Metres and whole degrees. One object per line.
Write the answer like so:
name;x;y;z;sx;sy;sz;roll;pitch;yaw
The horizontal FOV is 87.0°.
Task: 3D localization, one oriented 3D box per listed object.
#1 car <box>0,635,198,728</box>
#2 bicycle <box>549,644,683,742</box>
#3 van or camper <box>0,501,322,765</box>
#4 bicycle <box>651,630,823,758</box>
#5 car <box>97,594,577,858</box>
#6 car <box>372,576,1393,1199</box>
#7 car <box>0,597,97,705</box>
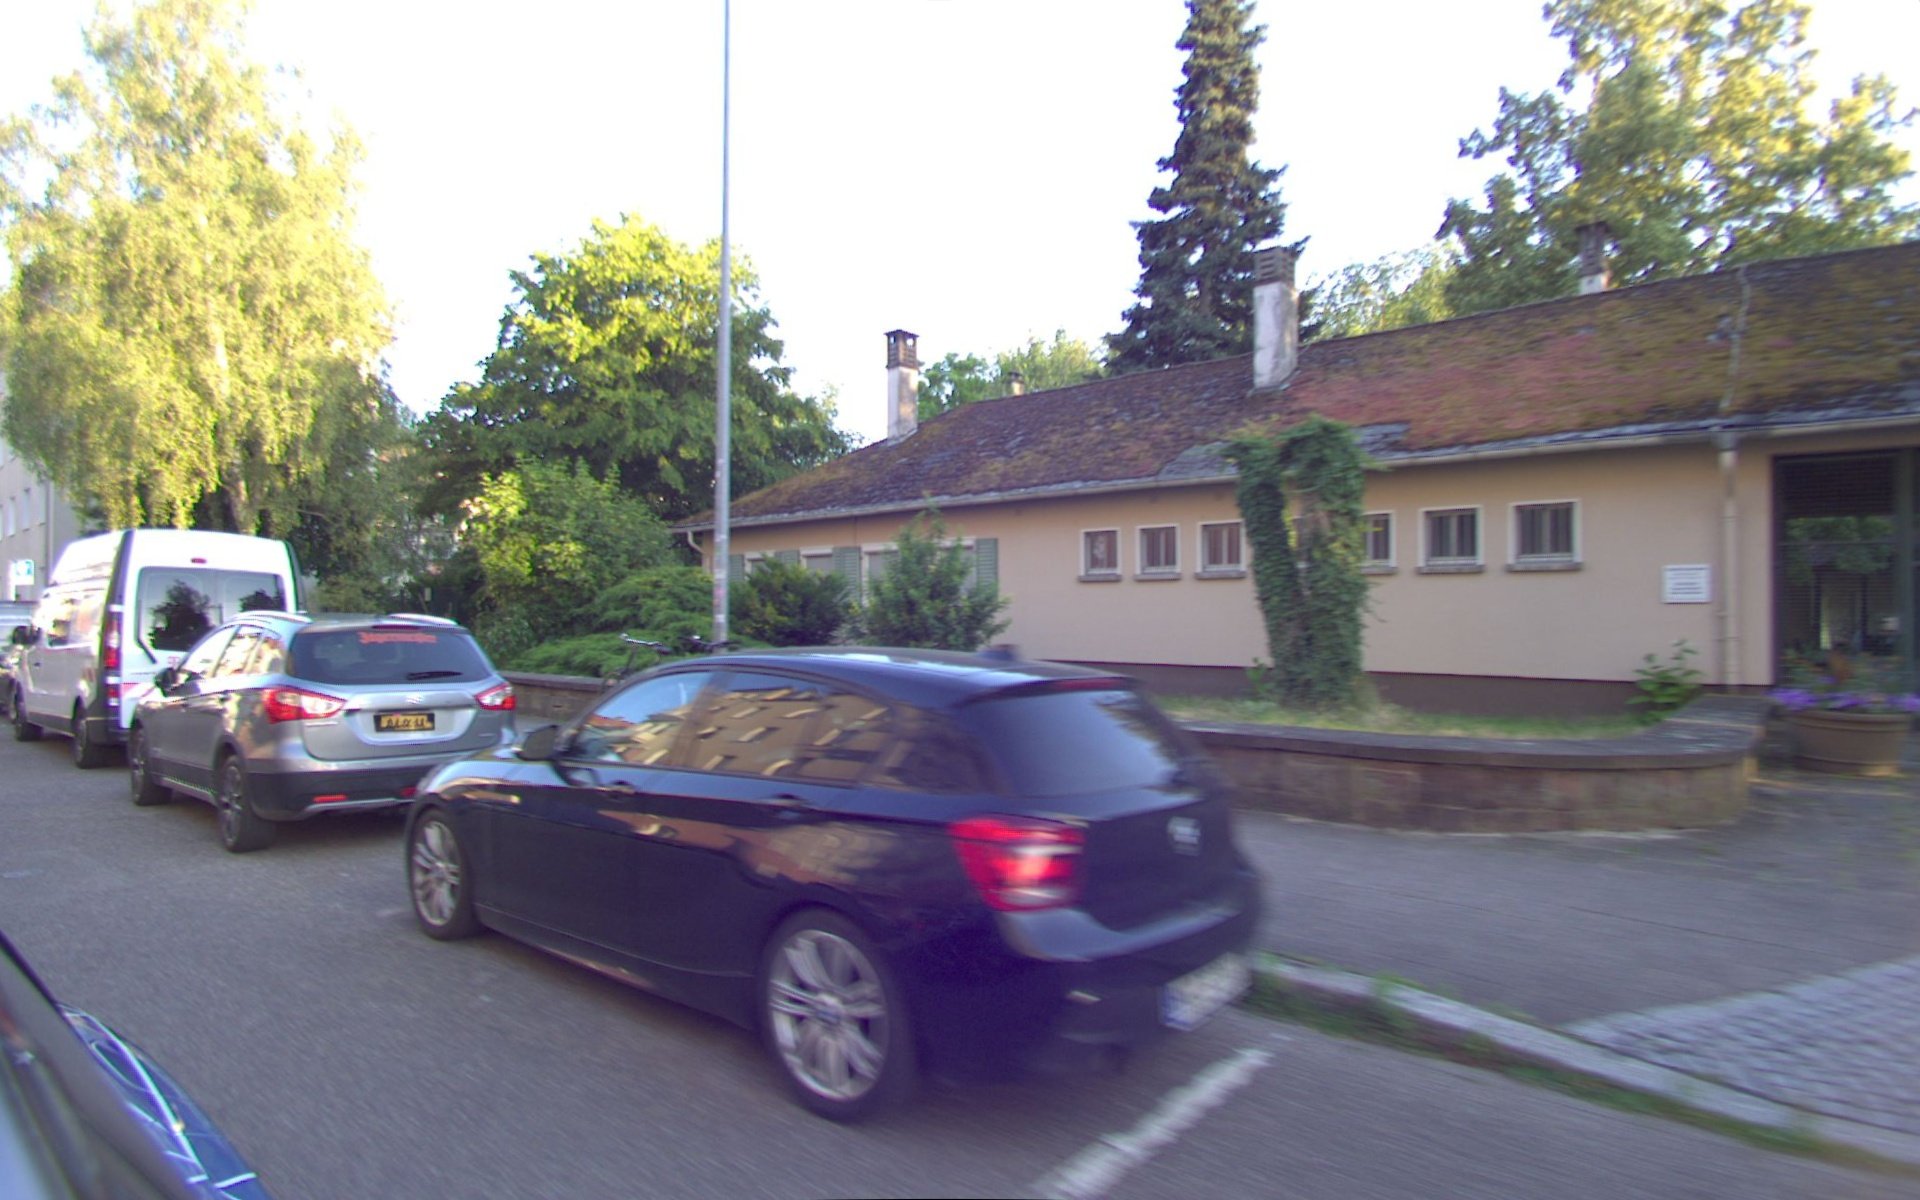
car;-13.738;1.168;15.676;4.027;1.198;1.976;-1;-1;35
bicycle;-3.894;1.001;11.366;1.955;0.972;0.537;-1;-1;42
van or camper;-9.898;0.375;12.208;6.078;2.475;1.973;-1;-2;40
bicycle;-2.209;0.860;9.865;1.953;1.126;0.538;-1;-1;39
car;-5.240;0.778;8.202;4.786;1.530;1.973;-1;-1;41
car;-0.667;0.721;4.383;4.285;1.464;1.973;-1;-1;41
car;-17.873;0.913;18.820;4.944;1.801;1.891;-1;-3;39
